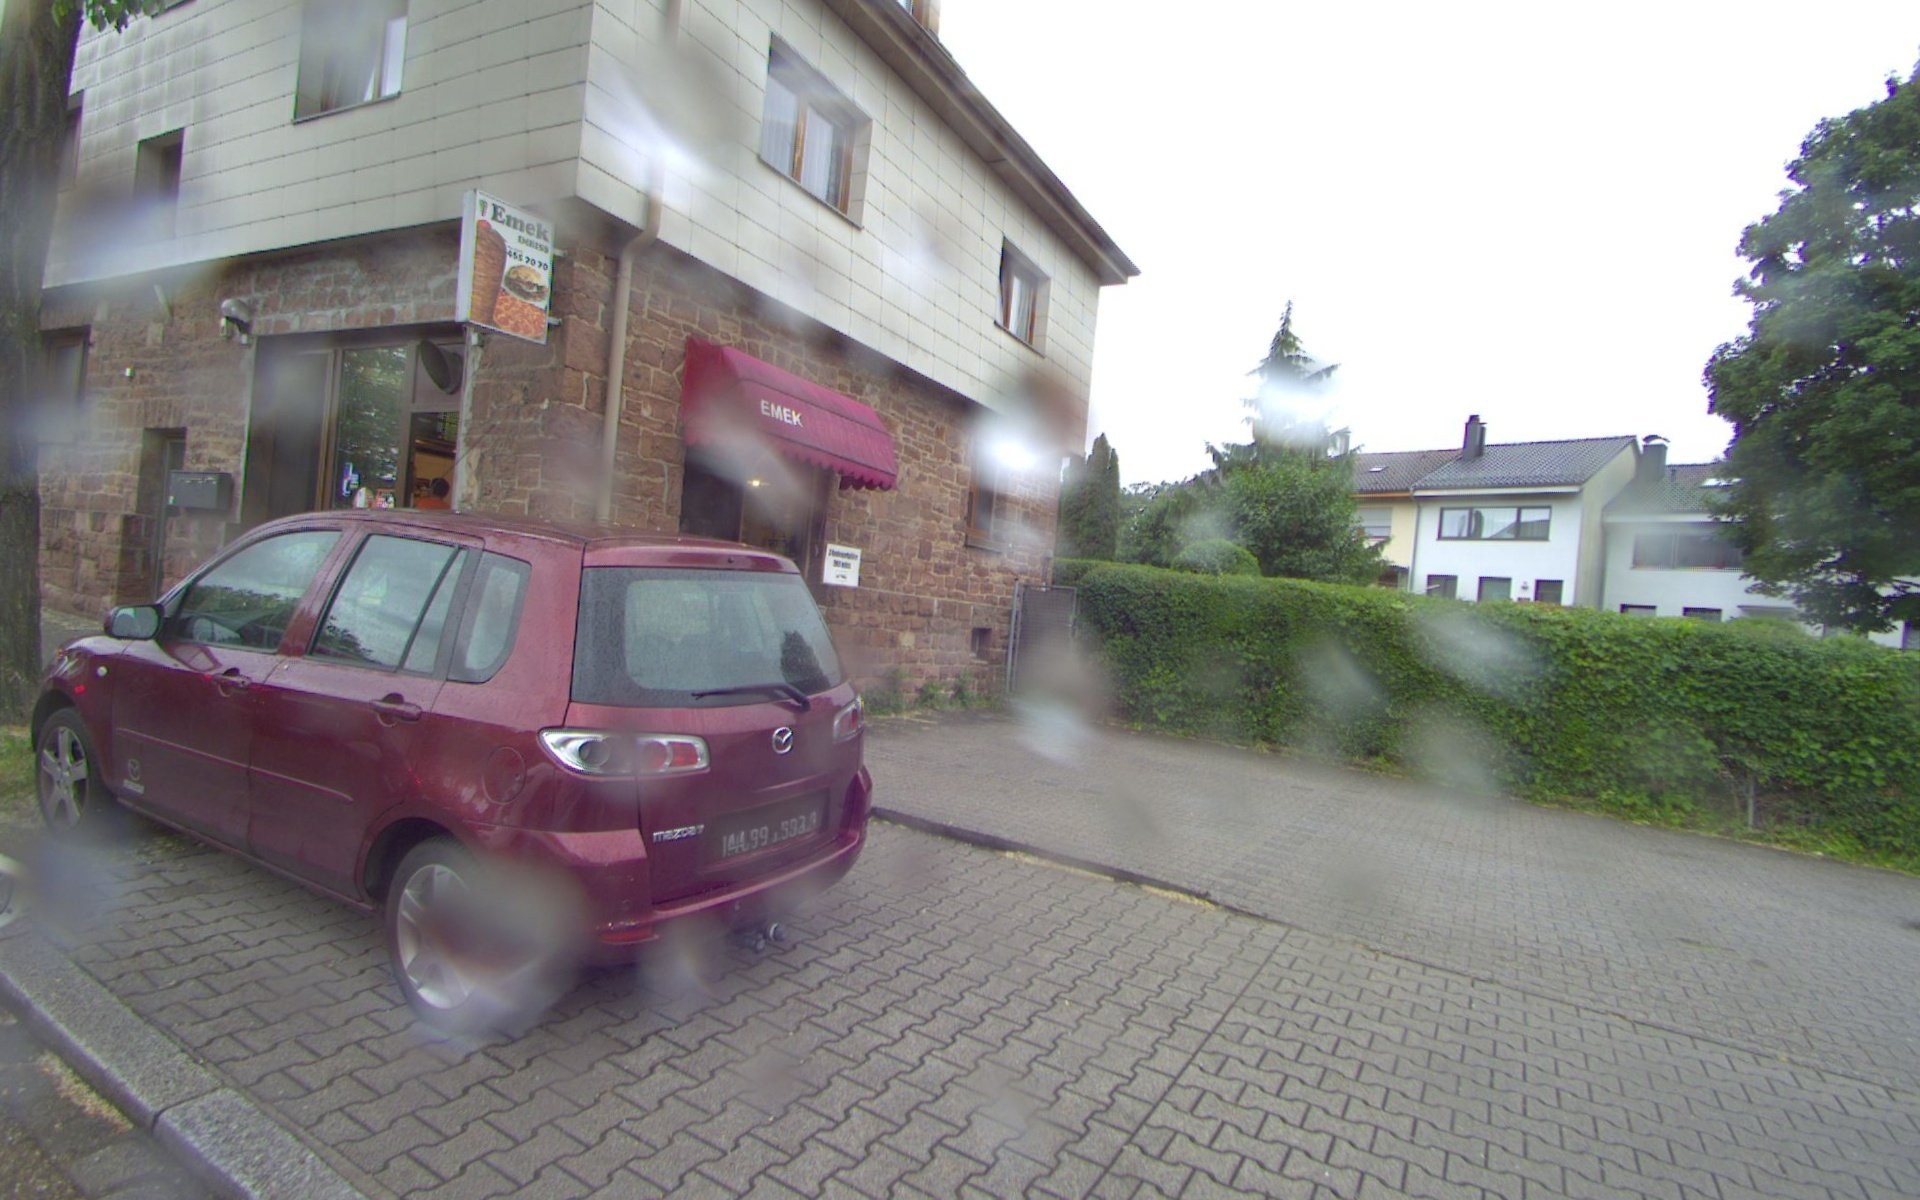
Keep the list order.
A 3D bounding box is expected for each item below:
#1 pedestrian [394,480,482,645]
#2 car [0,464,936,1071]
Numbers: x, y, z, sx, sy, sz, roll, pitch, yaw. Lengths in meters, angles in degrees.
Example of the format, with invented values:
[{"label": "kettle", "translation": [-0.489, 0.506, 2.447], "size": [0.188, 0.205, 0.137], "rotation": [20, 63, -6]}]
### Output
[{"label": "pedestrian", "translation": [-5.585, -0.398, 10.772], "size": [0.447, 1.679, 0.493], "rotation": [7, -1, 31]}, {"label": "car", "translation": [-2.155, 0.373, 4.137], "size": [3.692, 1.521, 1.614], "rotation": [5, -3, 29]}]
